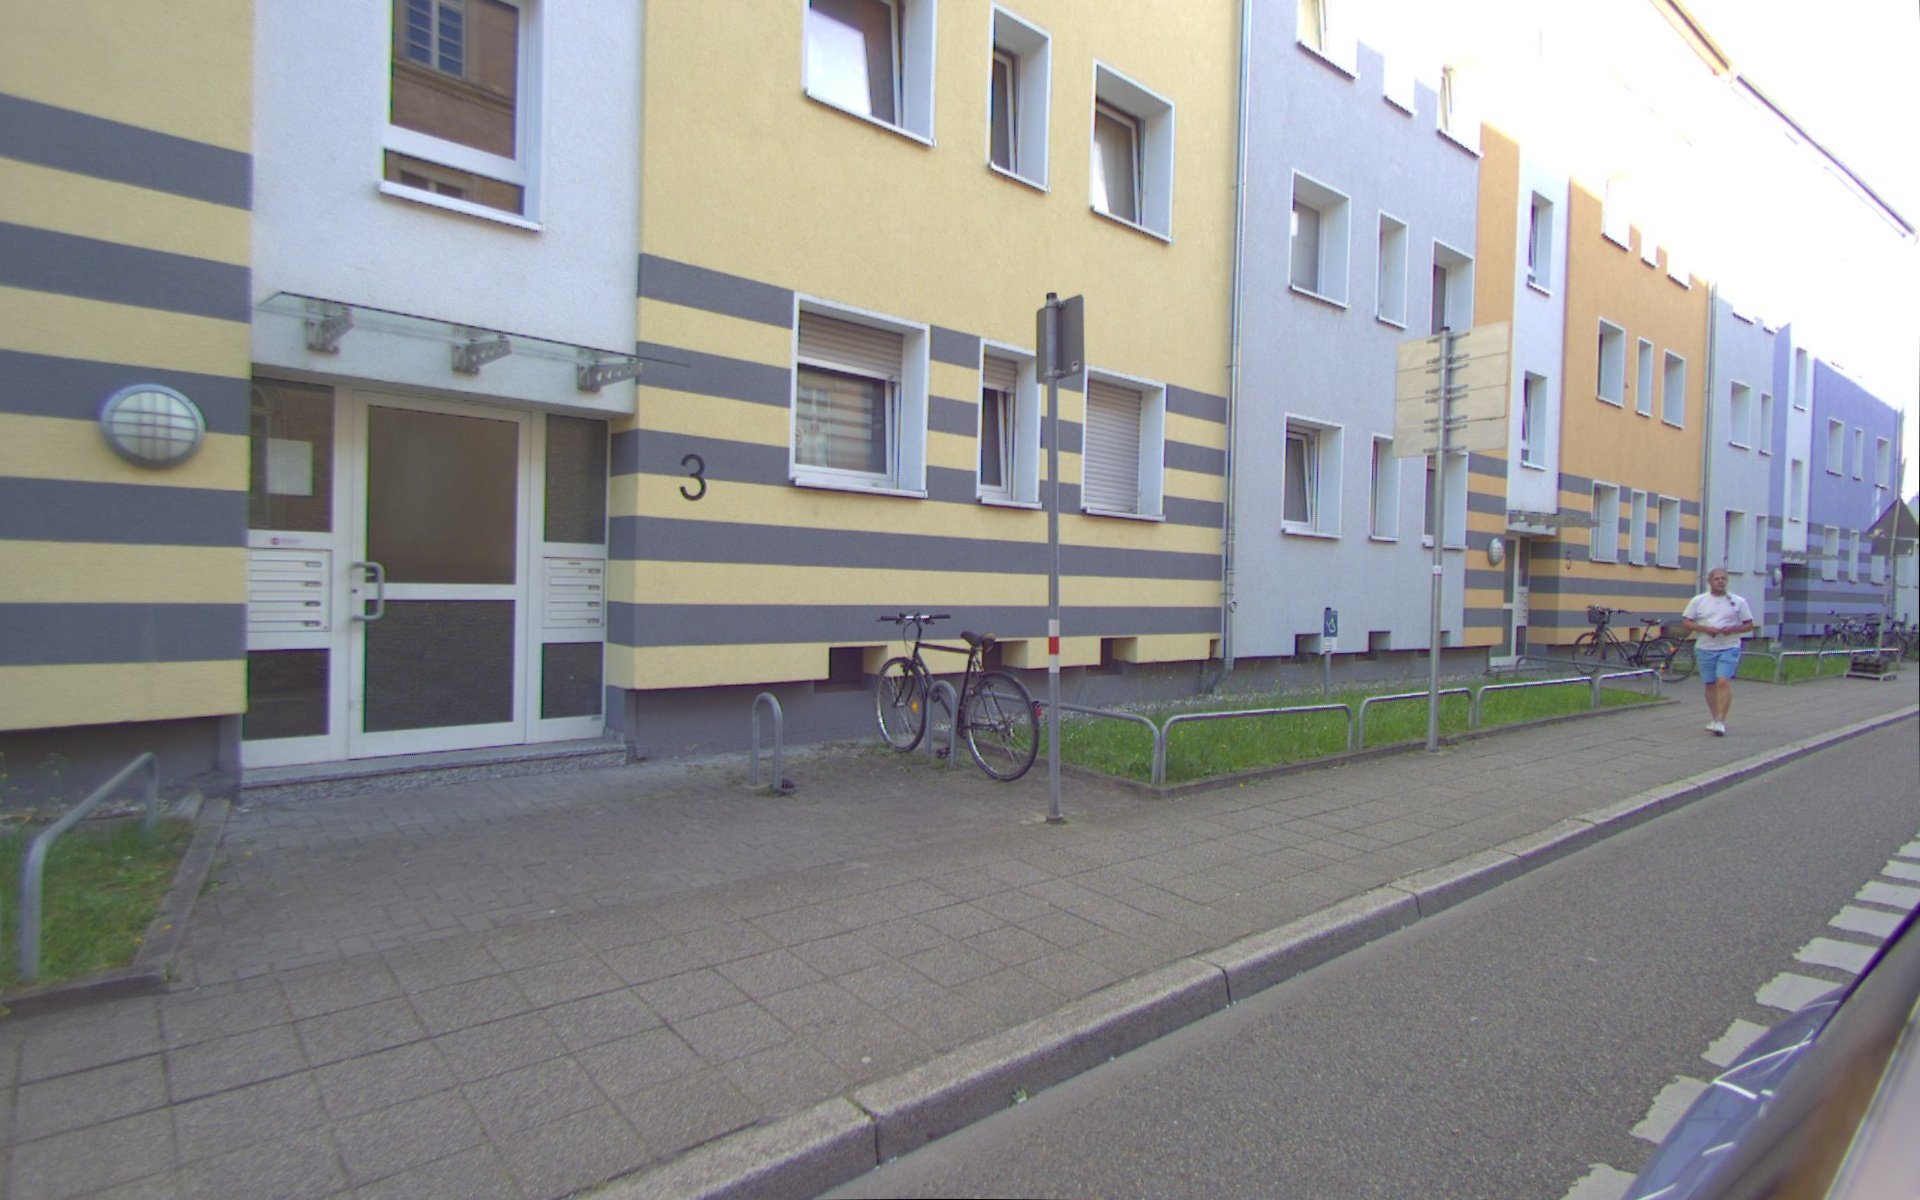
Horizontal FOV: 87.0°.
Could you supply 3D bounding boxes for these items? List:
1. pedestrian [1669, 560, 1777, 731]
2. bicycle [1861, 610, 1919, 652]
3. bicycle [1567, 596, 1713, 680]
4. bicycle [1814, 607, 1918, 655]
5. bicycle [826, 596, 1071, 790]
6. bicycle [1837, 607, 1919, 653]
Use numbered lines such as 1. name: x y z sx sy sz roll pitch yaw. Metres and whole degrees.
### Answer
1. pedestrian: 7.945 0.444 10.541 0.819 1.692 0.644 1 2 -39
2. bicycle: 24.043 0.796 25.583 0.572 0.950 1.779 1 3 -33
3. bicycle: 10.679 0.570 15.947 0.574 1.138 1.775 0 4 -42
4. bicycle: 22.178 0.736 24.806 0.572 1.007 1.779 1 3 -33
5. bicycle: -0.133 0.557 6.925 1.773 1.061 0.574 5 4 45
6. bicycle: 23.341 0.740 25.476 0.572 1.007 1.779 1 3 -33
